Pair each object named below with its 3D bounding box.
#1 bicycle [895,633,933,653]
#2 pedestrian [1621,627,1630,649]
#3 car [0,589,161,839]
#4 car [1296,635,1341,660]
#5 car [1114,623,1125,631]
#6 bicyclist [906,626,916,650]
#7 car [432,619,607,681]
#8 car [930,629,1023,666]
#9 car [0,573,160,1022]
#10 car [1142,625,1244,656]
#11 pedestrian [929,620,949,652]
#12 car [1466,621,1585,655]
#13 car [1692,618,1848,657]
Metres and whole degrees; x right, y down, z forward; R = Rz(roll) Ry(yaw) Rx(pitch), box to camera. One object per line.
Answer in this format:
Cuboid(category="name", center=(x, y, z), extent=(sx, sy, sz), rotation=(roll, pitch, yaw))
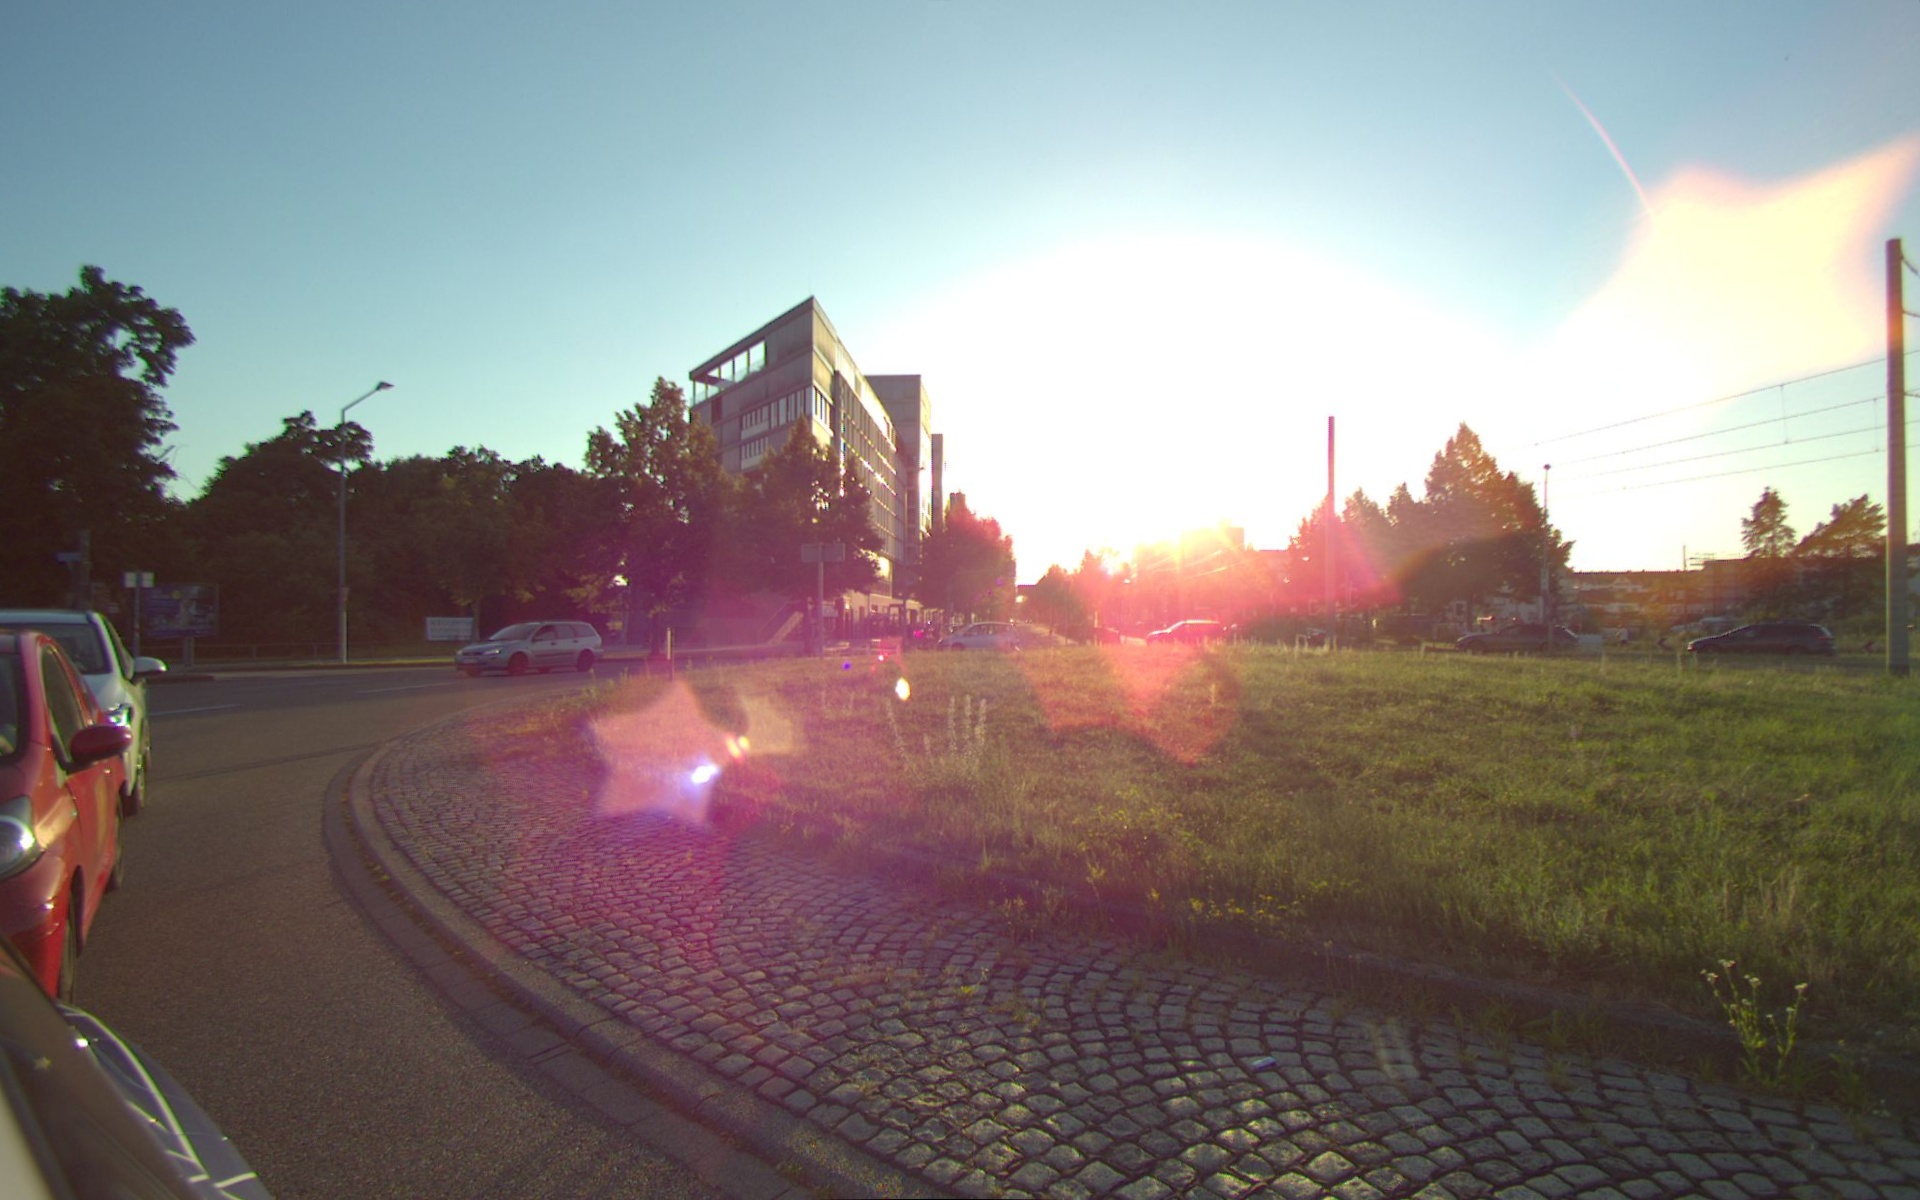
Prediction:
Cuboid(category="bicycle", center=(-2.872, 2.676, 62.959), extent=(2.315, 1.254, 0.742), rotation=(0, -1, 0))
Cuboid(category="pedestrian", center=(39.243, 2.246, 59.676), extent=(0.397, 1.318, 0.423), rotation=(-1, -2, 41))
Cuboid(category="car", center=(-7.695, 0.776, 8.085), extent=(1.968, 1.618, 4.205), rotation=(1, -2, -39))
Cuboid(category="car", center=(25.590, 3.346, 72.384), extent=(1.974, 1.663, 3.995), rotation=(0, -1, 4))
Cuboid(category="car", center=(37.378, 6.256, 237.718), extent=(1.972, 1.737, 4.000), rotation=(-1, 0, 0))
Cuboid(category="bicyclist", center=(-3.053, 2.352, 62.981), extent=(0.602, 1.451, 0.692), rotation=(0, -1, -2))
Cuboid(category="car", center=(-12.108, 1.333, 28.183), extent=(1.821, 1.571, 4.534), rotation=(-1, -1, 22))
Cuboid(category="car", center=(0.721, 2.146, 46.078), extent=(3.826, 1.592, 1.960), rotation=(0, -1, -16))
Cuboid(category="car", center=(-4.763, 0.664, 4.492), extent=(1.662, 1.431, 4.010), rotation=(1, -1, -35))
Cuboid(category="car", center=(10.992, 1.902, 48.014), extent=(4.322, 1.386, 2.000), rotation=(0, -1, 0))
Cuboid(category="pedestrian", center=(-1.330, 2.306, 64.618), extent=(0.995, 2.029, 0.768), rotation=(-1, 0, 29))
Cuboid(category="car", center=(24.531, 1.612, 43.959), extent=(4.343, 1.386, 1.976), rotation=(-1, -2, 36))
Cuboid(category="car", center=(30.484, 1.397, 38.156), extent=(1.971, 1.386, 4.387), rotation=(1, -2, -45))
